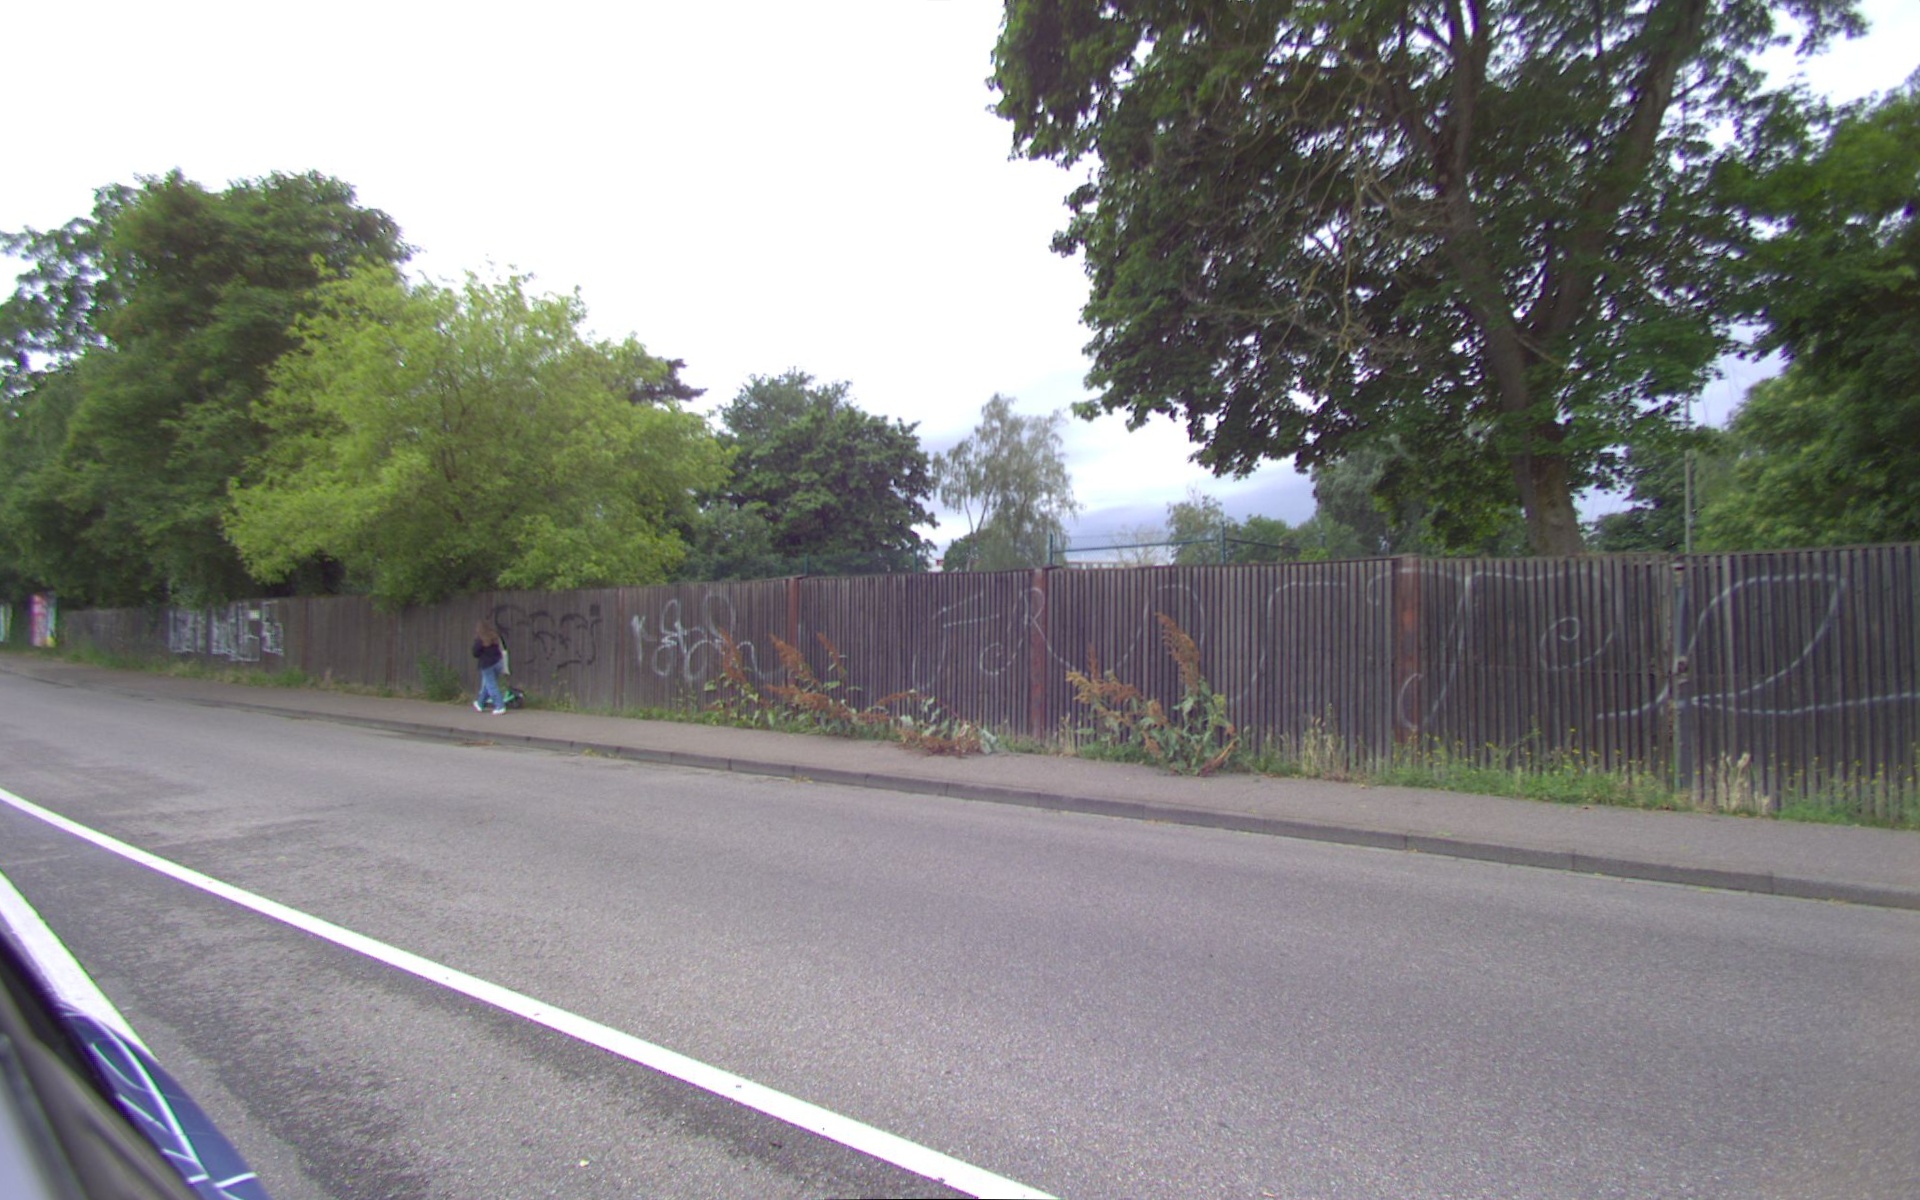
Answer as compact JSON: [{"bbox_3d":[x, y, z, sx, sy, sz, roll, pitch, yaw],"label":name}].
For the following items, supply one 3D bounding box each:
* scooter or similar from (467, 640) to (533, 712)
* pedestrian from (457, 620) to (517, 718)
[{"bbox_3d":[-7.813,1.272,17.174,1.301,1.179,0.419,-2,-2,36],"label":"scooter or similar"},{"bbox_3d":[-7.633,1.090,16.332,0.723,1.541,0.606,-2,-2,37],"label":"pedestrian"}]
